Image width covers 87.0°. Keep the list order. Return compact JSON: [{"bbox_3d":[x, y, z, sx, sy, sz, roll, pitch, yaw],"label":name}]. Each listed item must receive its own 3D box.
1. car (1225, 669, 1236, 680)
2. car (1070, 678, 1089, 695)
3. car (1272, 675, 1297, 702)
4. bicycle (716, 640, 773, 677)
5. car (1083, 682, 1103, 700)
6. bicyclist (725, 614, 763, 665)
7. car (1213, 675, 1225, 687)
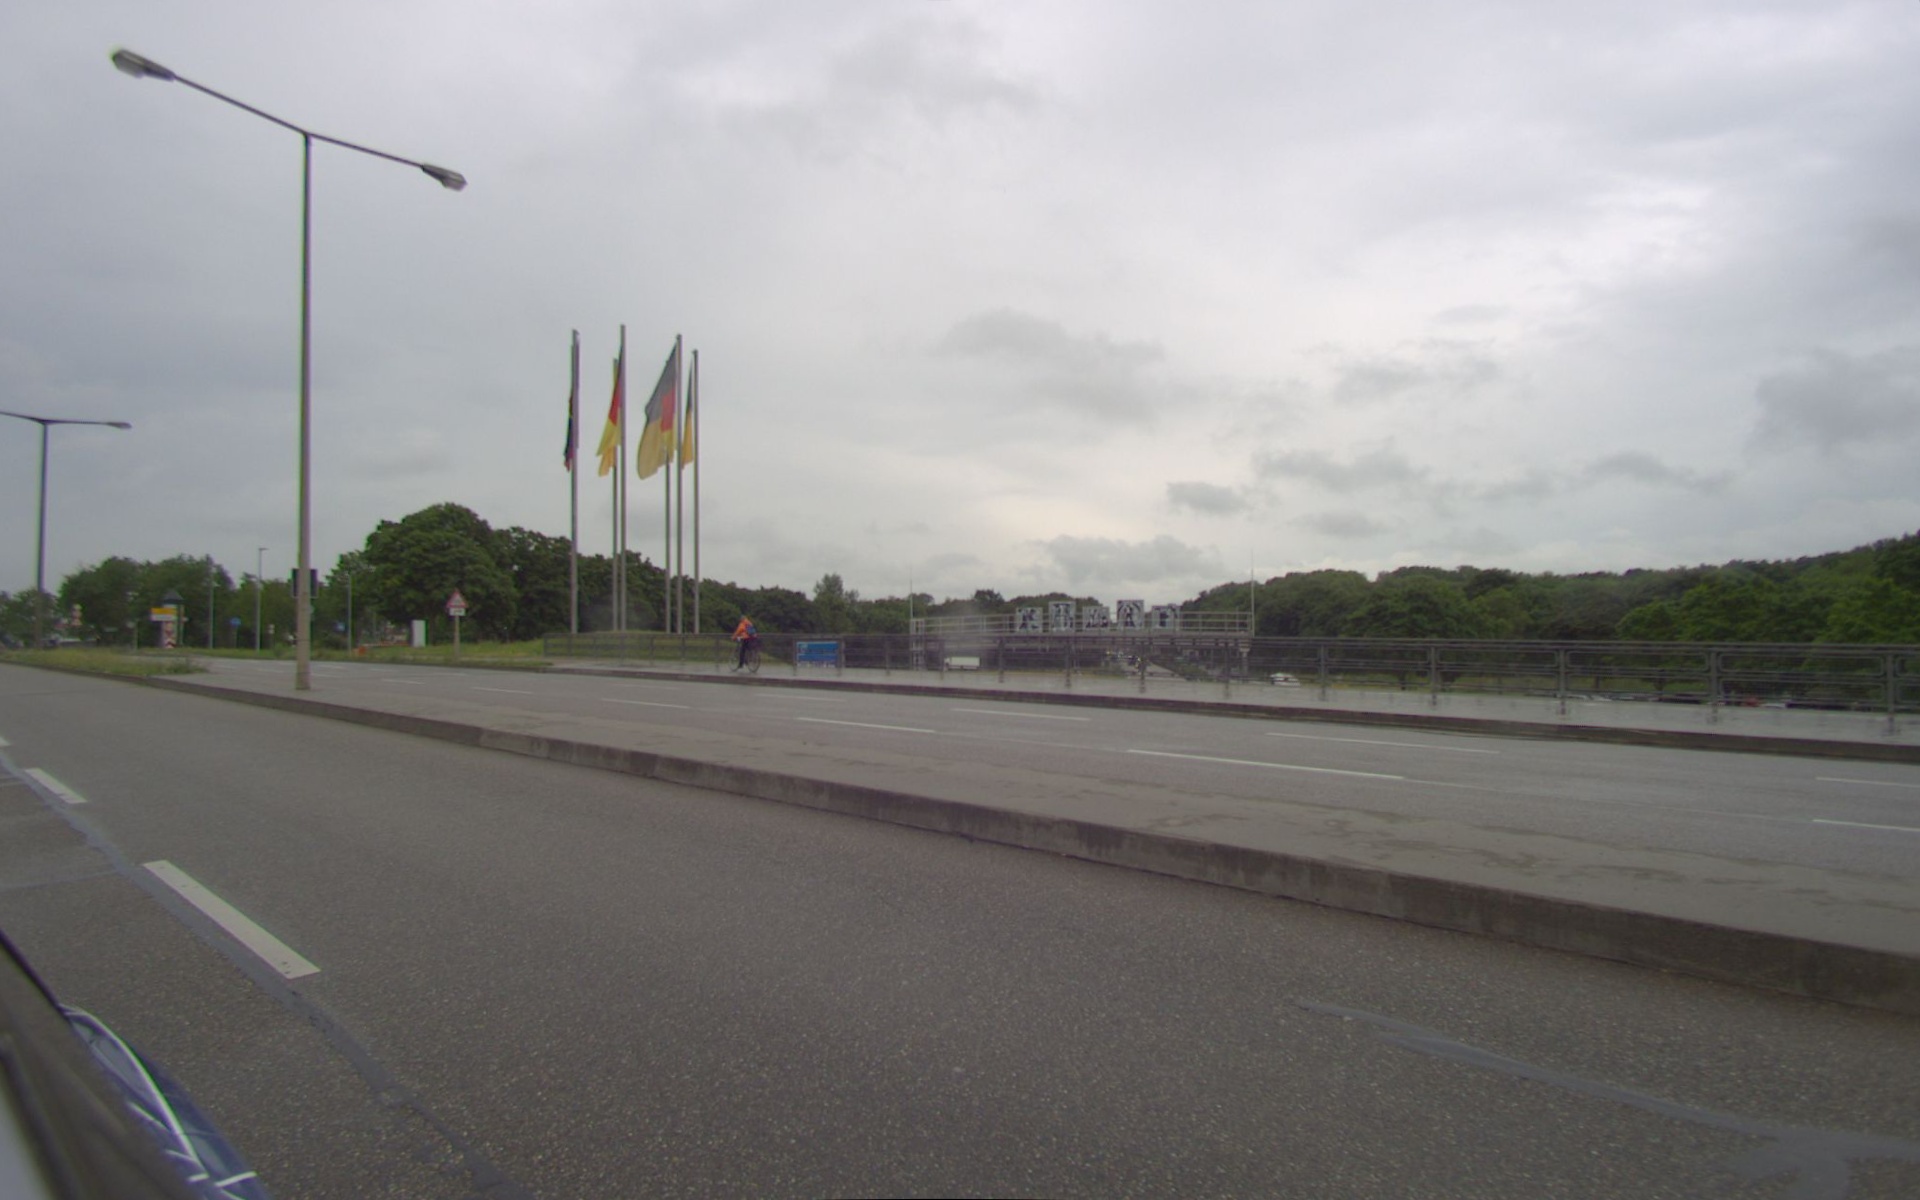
[{"bbox_3d":[51.839,14.246,193.963,1.981,1.794,3.980,-2,-2,15],"label":"car"},{"bbox_3d":[21.588,15.565,182.509,2.708,2.552,5.786,-2,-2,13],"label":"car"},{"bbox_3d":[38.379,10.429,119.710,2.713,2.792,5.777,-2,-2,18],"label":"car"},{"bbox_3d":[-6.555,1.763,30.755,2.000,1.041,0.603,-1,0,42],"label":"bicycle"},{"bbox_3d":[22.826,15.608,173.719,2.708,2.552,5.786,-2,-2,13],"label":"car"},{"bbox_3d":[-6.570,1.193,30.755,1.002,1.511,0.613,-1,0,41],"label":"bicyclist"},{"bbox_3d":[45.497,14.225,177.657,1.981,1.794,3.980,-2,-2,15],"label":"car"}]
